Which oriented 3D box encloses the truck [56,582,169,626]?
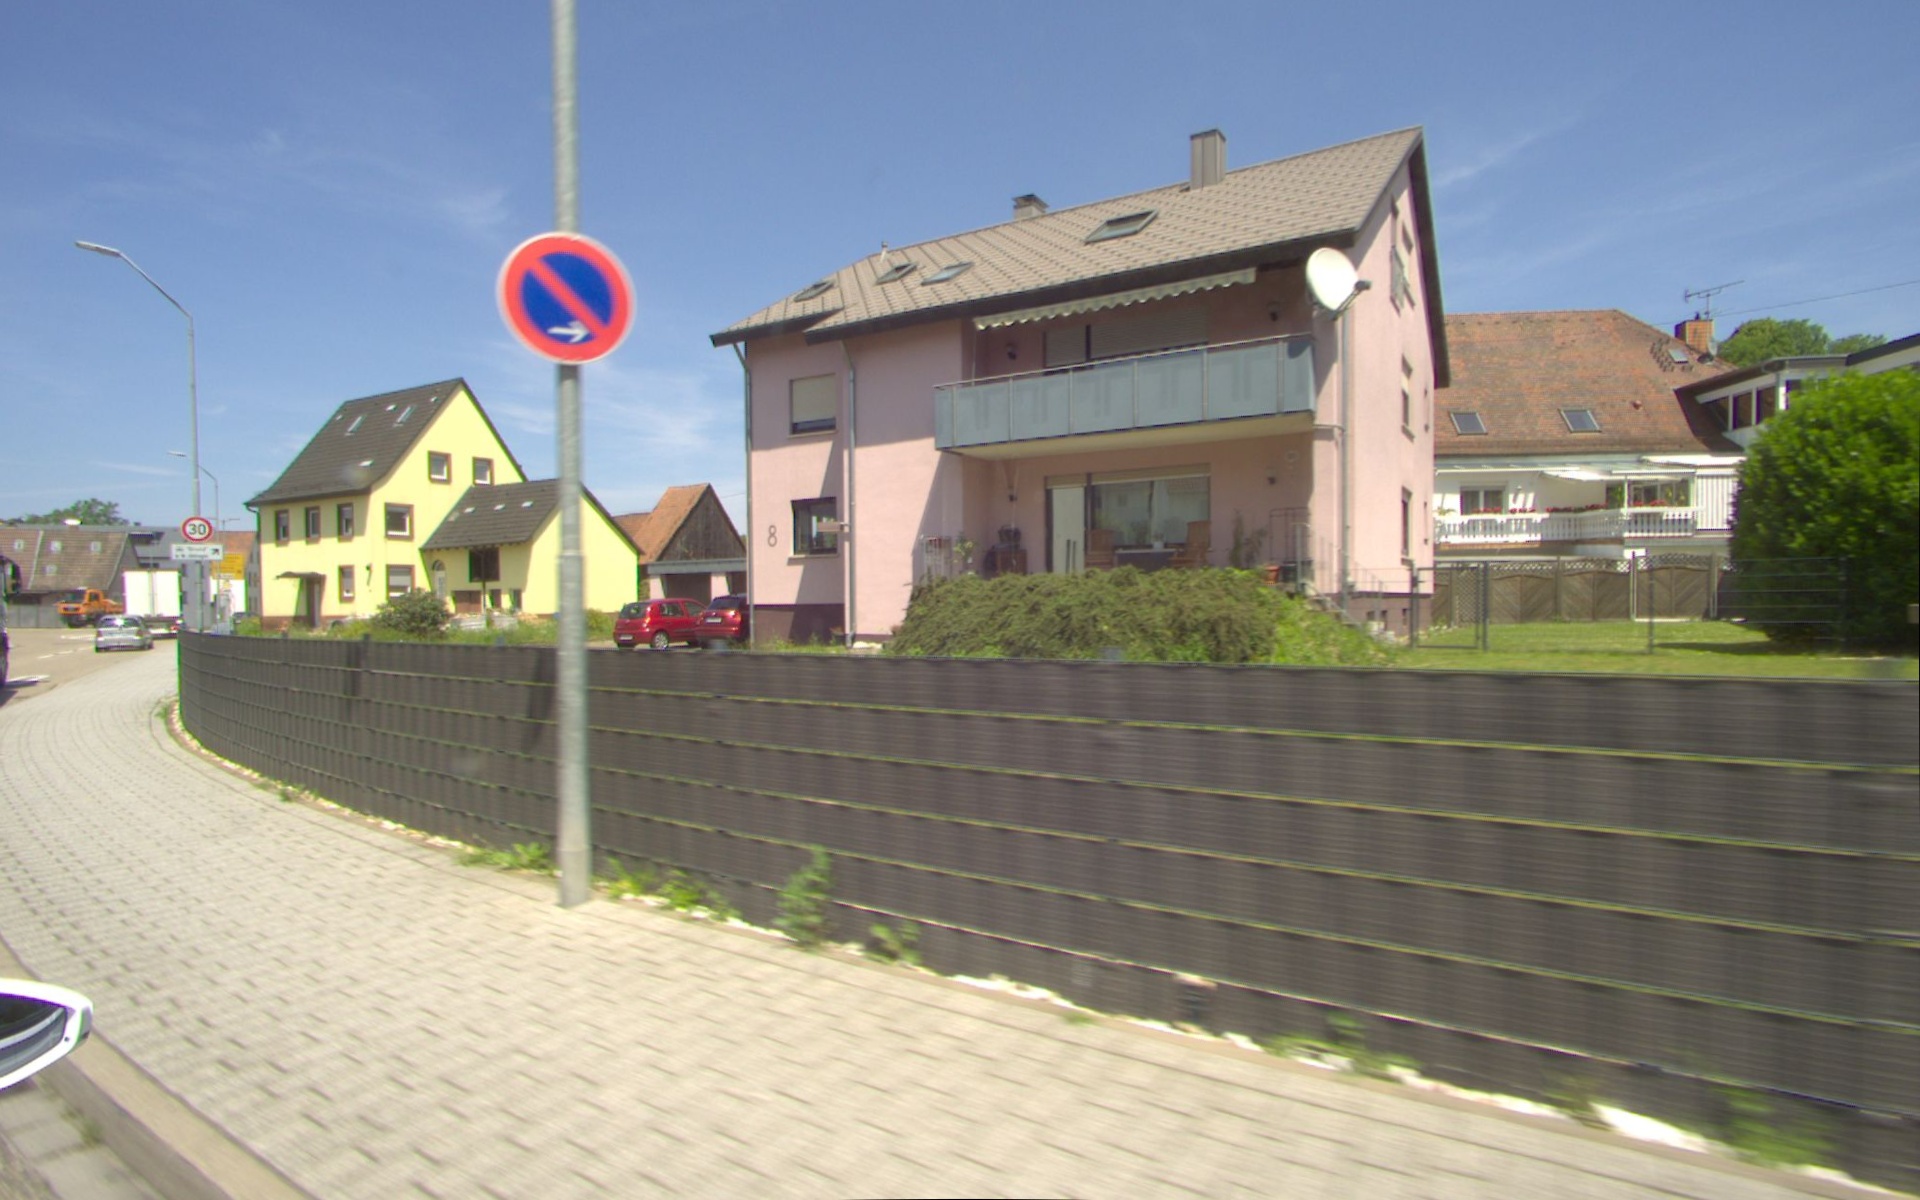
[{"bbox_3d":[-67.639,0.408,80.144,2.617,3.221,7.466,0,-2,1],"label":"truck"}]

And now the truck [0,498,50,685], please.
[{"bbox_3d":[-22.538,-0.164,21.845,2.956,4.018,5.546,-1,0,-32],"label":"truck"}]

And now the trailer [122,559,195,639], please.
[{"bbox_3d":[-48.488,0.008,60.562,3.106,4.333,12.393,-1,0,-39],"label":"trailer"}]

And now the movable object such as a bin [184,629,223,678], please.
[{"bbox_3d":[-17.018,1.196,22.536,0.643,1.071,0.562,-1,1,40],"label":"movable object such as a bin"}]

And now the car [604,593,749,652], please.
[{"bbox_3d":[-8.083,0.594,28.804,1.736,1.506,3.815,-1,1,32],"label":"car"}]

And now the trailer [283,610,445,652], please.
[{"bbox_3d":[-23.820,1.197,40.289,2.104,1.566,5.345,-1,-1,27],"label":"trailer"}]

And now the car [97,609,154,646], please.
[{"bbox_3d":[-36.194,1.178,43.509,1.827,1.505,3.967,0,-1,-39],"label":"car"}]

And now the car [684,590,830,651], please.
[{"bbox_3d":[-5.608,0.569,28.111,1.822,1.568,4.108,-1,-1,28],"label":"car"}]
